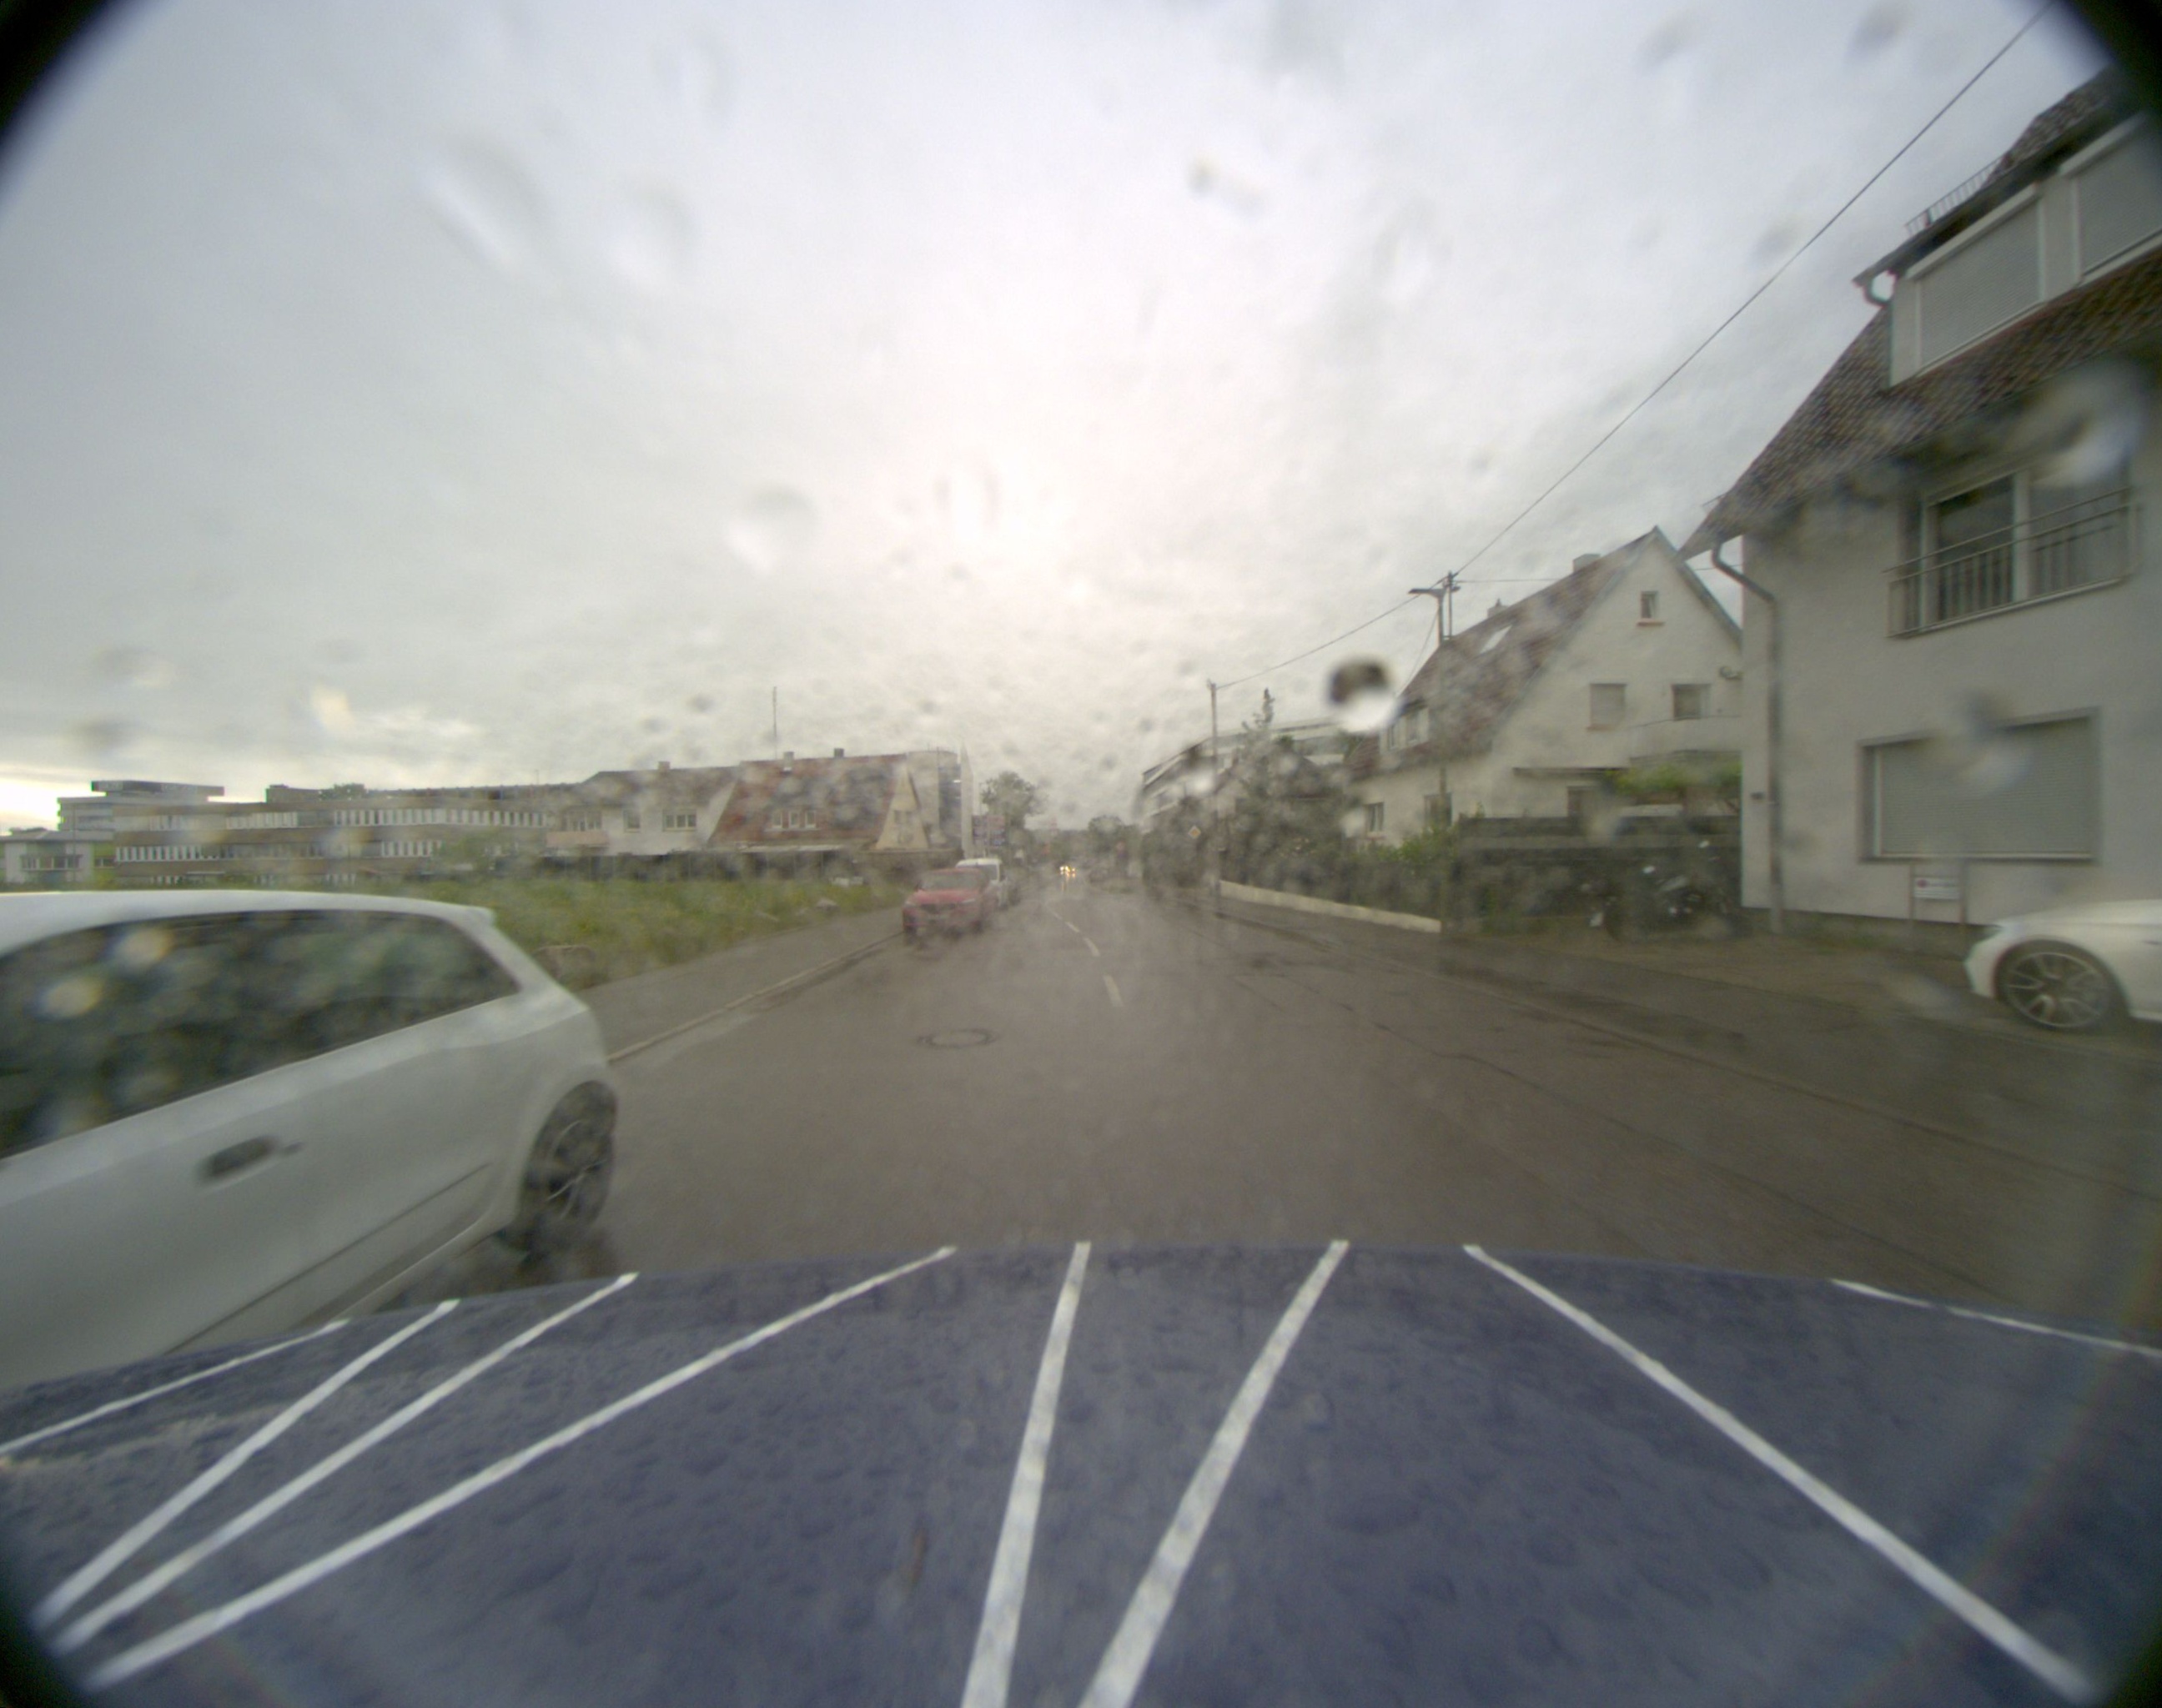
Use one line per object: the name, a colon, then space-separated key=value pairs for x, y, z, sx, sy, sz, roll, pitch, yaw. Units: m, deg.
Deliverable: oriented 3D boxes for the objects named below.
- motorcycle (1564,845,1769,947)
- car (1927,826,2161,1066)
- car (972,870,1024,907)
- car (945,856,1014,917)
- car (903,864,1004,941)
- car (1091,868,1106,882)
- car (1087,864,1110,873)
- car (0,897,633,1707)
motorcycle: x=8.535 y=0.597 z=11.136 sx=2.368 sy=1.266 sz=0.736 roll=-4 pitch=1 yaw=-1
car: x=8.234 y=0.596 z=3.990 sx=1.999 sy=1.501 sz=4.895 roll=-5 pitch=0 yaw=-1
car: x=-3.463 y=1.409 z=32.465 sx=1.773 sy=1.328 sz=4.320 roll=-3 pitch=0 yaw=-1
car: x=-3.376 y=1.028 z=25.999 sx=1.773 sy=1.814 sz=4.574 roll=-3 pitch=0 yaw=-1
car: x=-3.061 y=1.105 z=19.098 sx=1.646 sy=1.565 sz=4.643 roll=-3 pitch=0 yaw=1
car: x=2.220 y=2.657 z=97.801 sx=1.841 sy=1.696 sz=4.324 roll=-2 pitch=0 yaw=1
car: x=3.302 y=2.703 z=143.489 sx=4.166 sy=1.411 sz=2.001 roll=-4 pitch=0 yaw=4
car: x=-2.947 y=1.016 z=1.716 sx=1.686 sy=1.548 sz=3.673 roll=-3 pitch=0 yaw=-1
